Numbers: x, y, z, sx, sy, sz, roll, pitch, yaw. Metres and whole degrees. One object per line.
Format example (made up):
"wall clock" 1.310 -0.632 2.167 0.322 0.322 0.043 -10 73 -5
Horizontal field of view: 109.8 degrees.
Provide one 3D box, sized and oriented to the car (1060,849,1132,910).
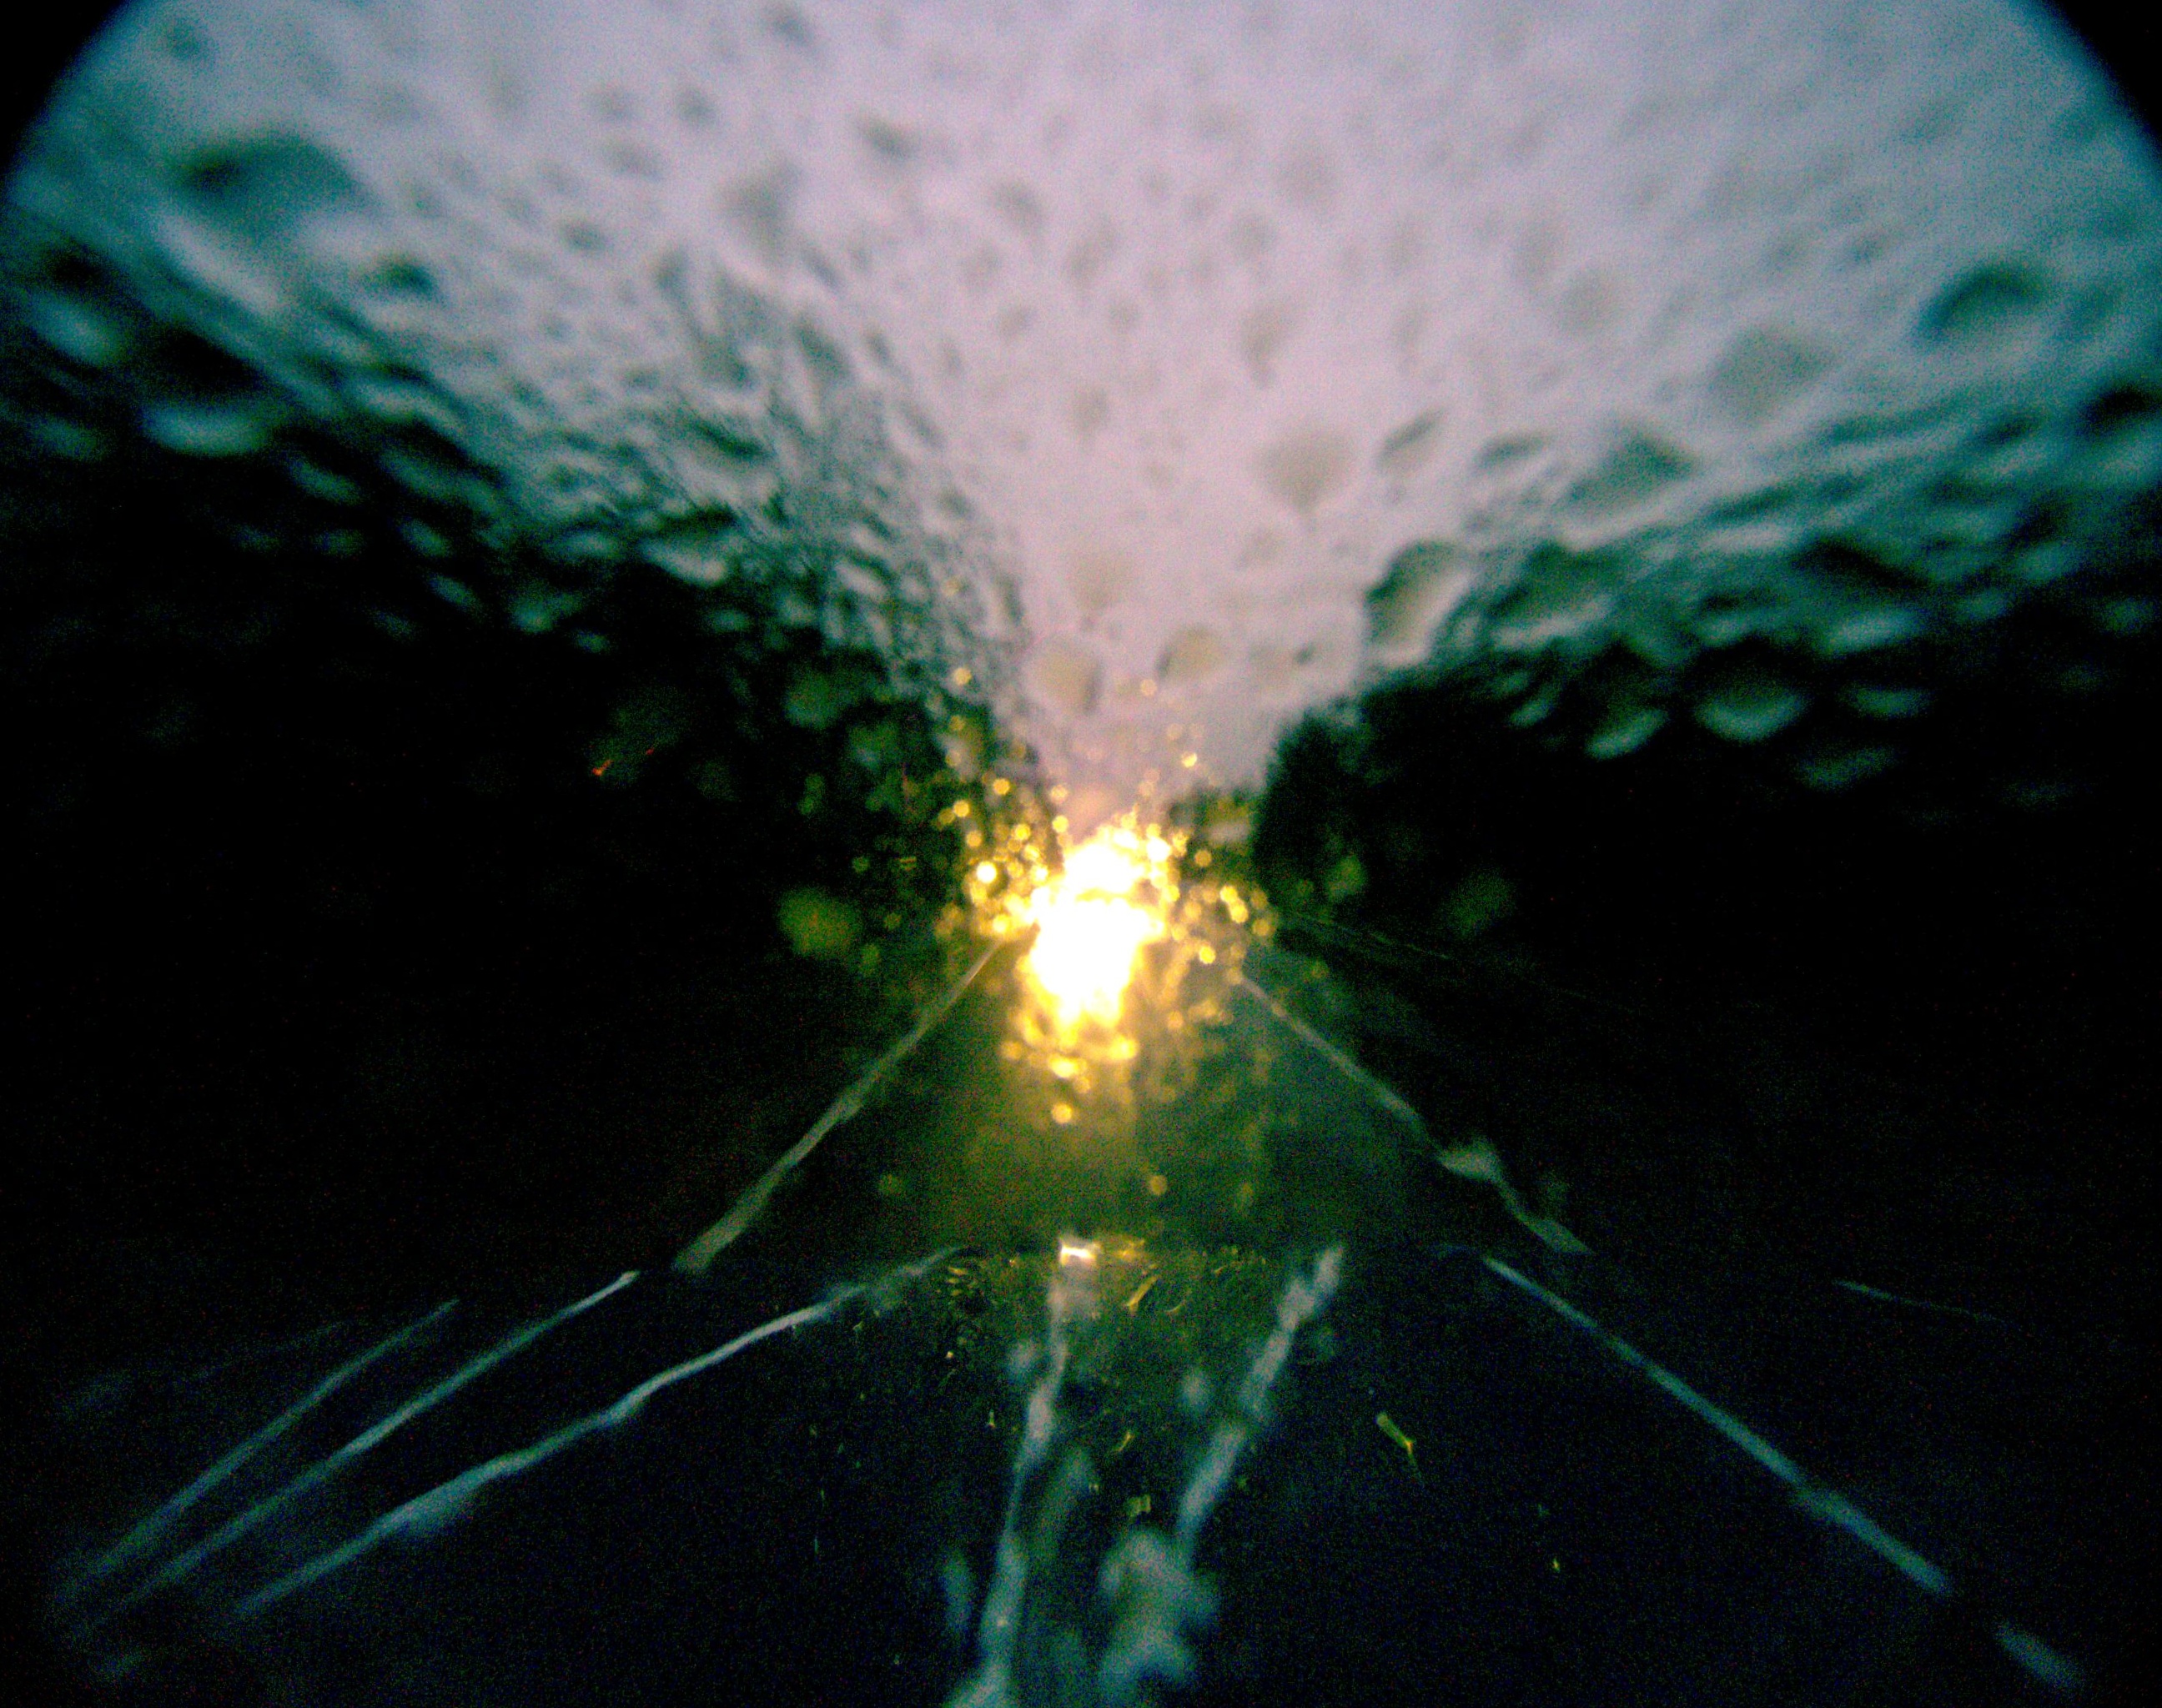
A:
"car" 0.437 0.730 23.735 1.998 1.672 4.000 -2 0 0
